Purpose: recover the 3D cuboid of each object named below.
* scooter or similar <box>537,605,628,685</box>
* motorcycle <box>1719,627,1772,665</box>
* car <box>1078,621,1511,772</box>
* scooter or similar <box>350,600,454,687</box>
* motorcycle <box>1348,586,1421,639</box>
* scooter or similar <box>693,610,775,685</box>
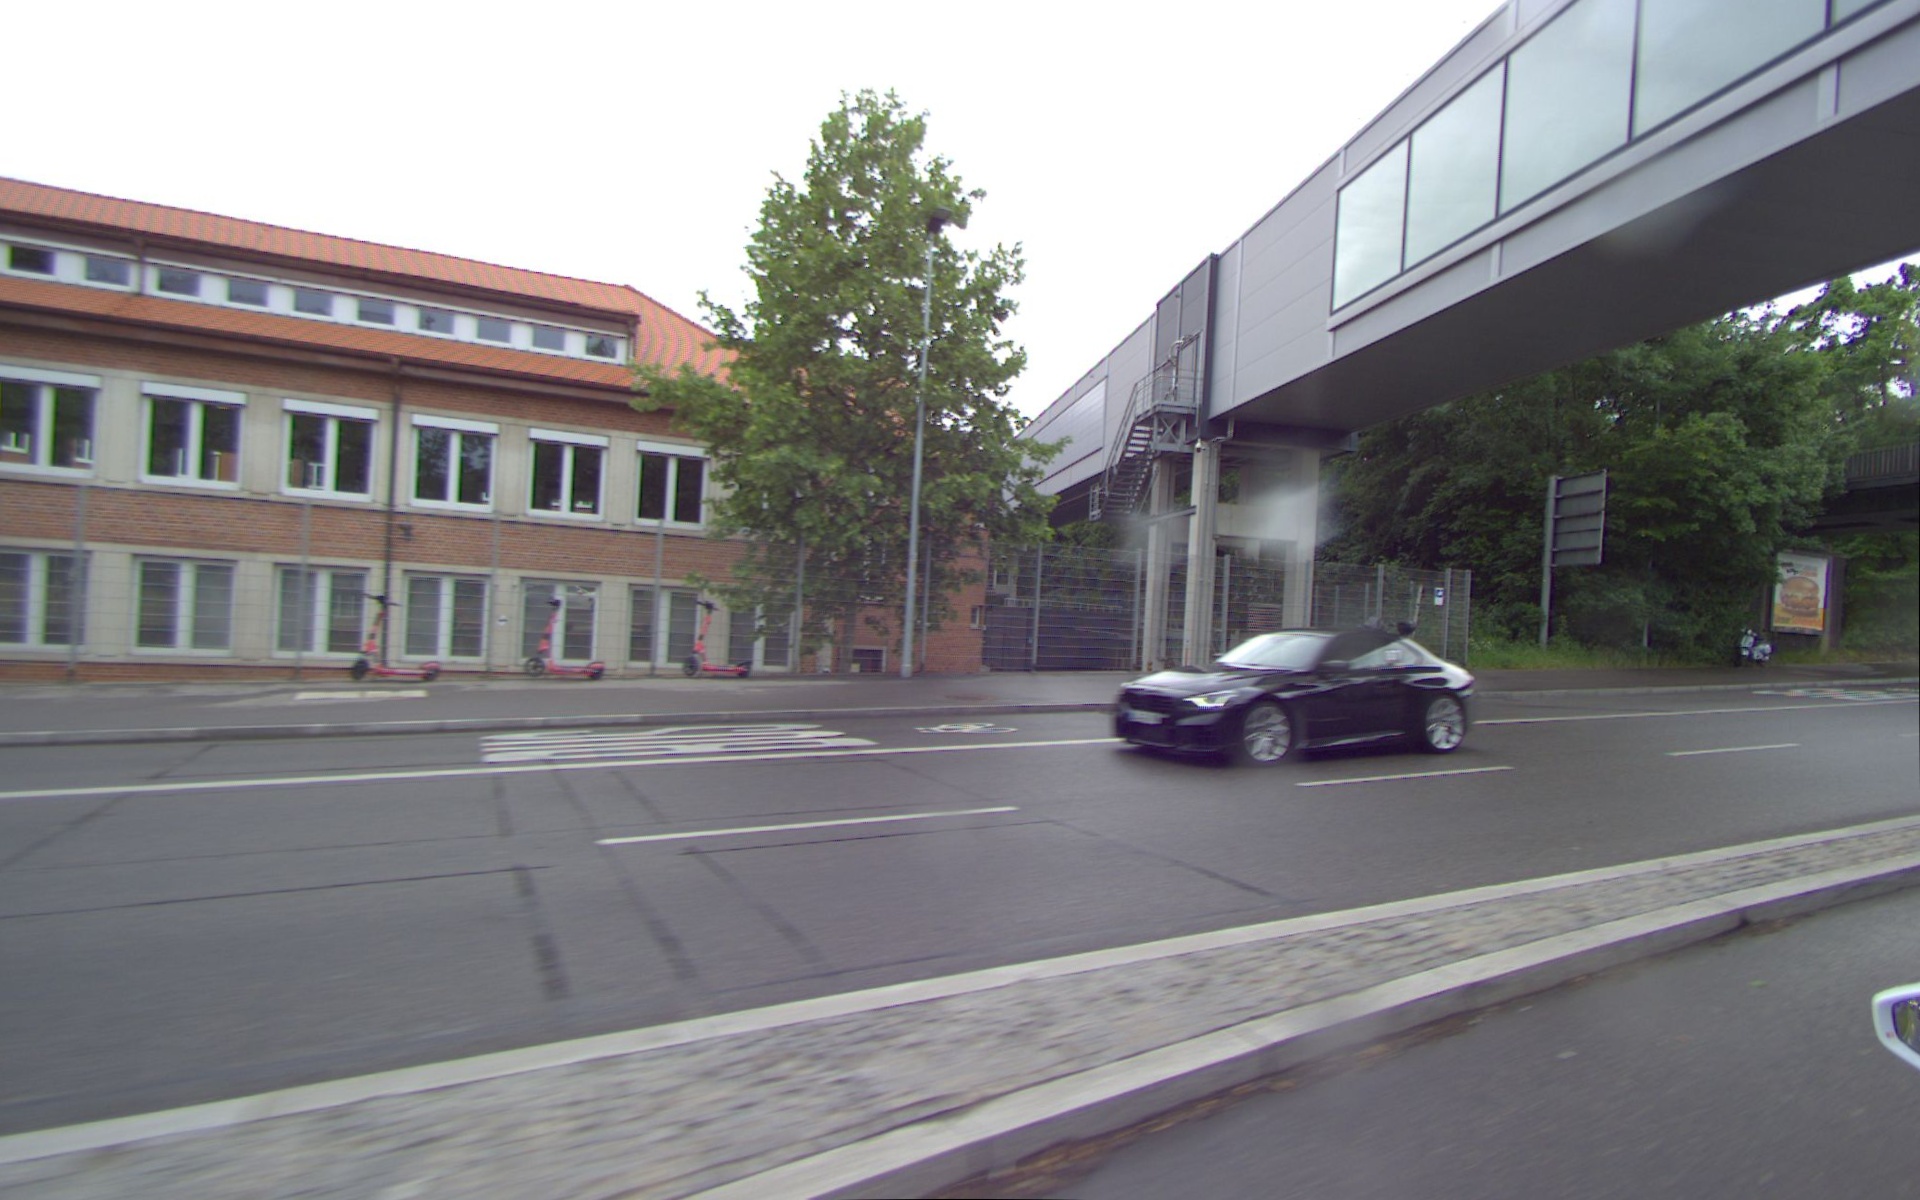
[{"bbox_3d":[-5.922,0.702,15.785,1.286,1.234,0.311,1,0,-15],"label":"scooter or similar"},{"bbox_3d":[24.650,1.431,31.510,1.905,1.174,0.467,1,0,-24],"label":"motorcycle"},{"bbox_3d":[3.879,0.976,11.510,4.697,1.380,2.055,1,0,-28],"label":"car"},{"bbox_3d":[-8.125,0.634,14.672,1.291,1.234,0.310,1,0,-27],"label":"scooter or similar"},{"bbox_3d":[10.147,0.298,23.992,1.971,1.221,0.467,1,0,-27],"label":"motorcycle"},{"bbox_3d":[-3.792,0.788,16.865,1.289,1.234,0.311,1,0,-22],"label":"scooter or similar"}]
